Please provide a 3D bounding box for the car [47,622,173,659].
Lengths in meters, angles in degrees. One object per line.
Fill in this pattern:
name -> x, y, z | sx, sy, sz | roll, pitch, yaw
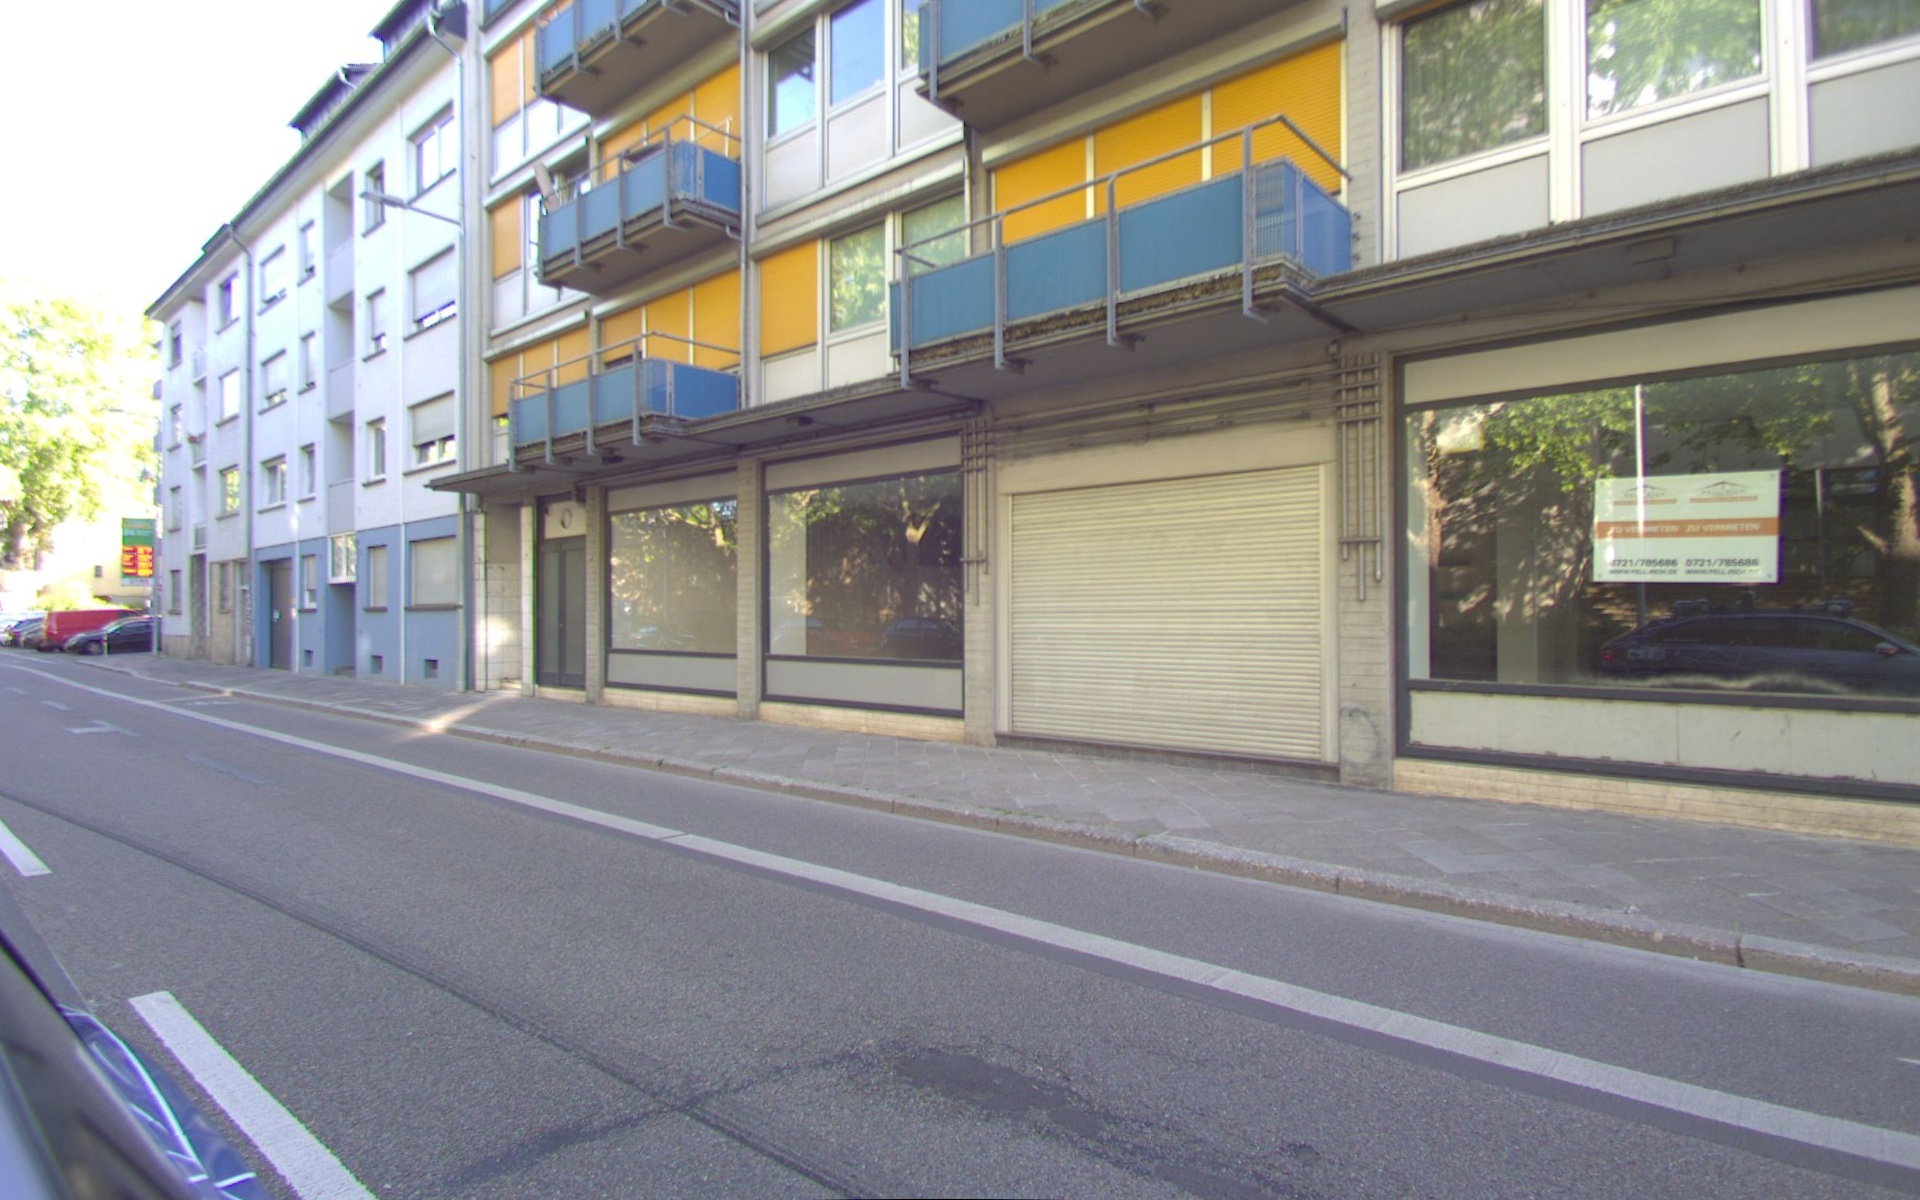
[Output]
car -> -36.858, 1.720, 43.971 | 1.780, 1.404, 3.947 | -1, 0, 39

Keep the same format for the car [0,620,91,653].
car -> -50.817, 1.989, 55.964 | 1.699, 1.640, 3.952 | -1, 0, 35

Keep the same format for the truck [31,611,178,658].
truck -> -40.346, 1.569, 47.832 | 1.998, 2.036, 5.024 | -1, 0, 40

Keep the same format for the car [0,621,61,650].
car -> -55.062, 2.066, 58.997 | 1.715, 1.594, 3.660 | -1, 0, 35

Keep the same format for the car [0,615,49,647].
car -> -59.754, 1.952, 63.831 | 1.693, 1.953, 3.224 | -1, 0, 43

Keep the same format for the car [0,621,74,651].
car -> -52.878, 2.022, 57.468 | 1.656, 1.599, 3.615 | -1, 0, 35

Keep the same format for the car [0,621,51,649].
car -> -56.883, 2.106, 60.390 | 1.740, 1.600, 3.685 | -1, 0, 35

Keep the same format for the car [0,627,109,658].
car -> -43.418, 1.998, 48.301 | 1.904, 1.282, 3.983 | -1, 0, 39
